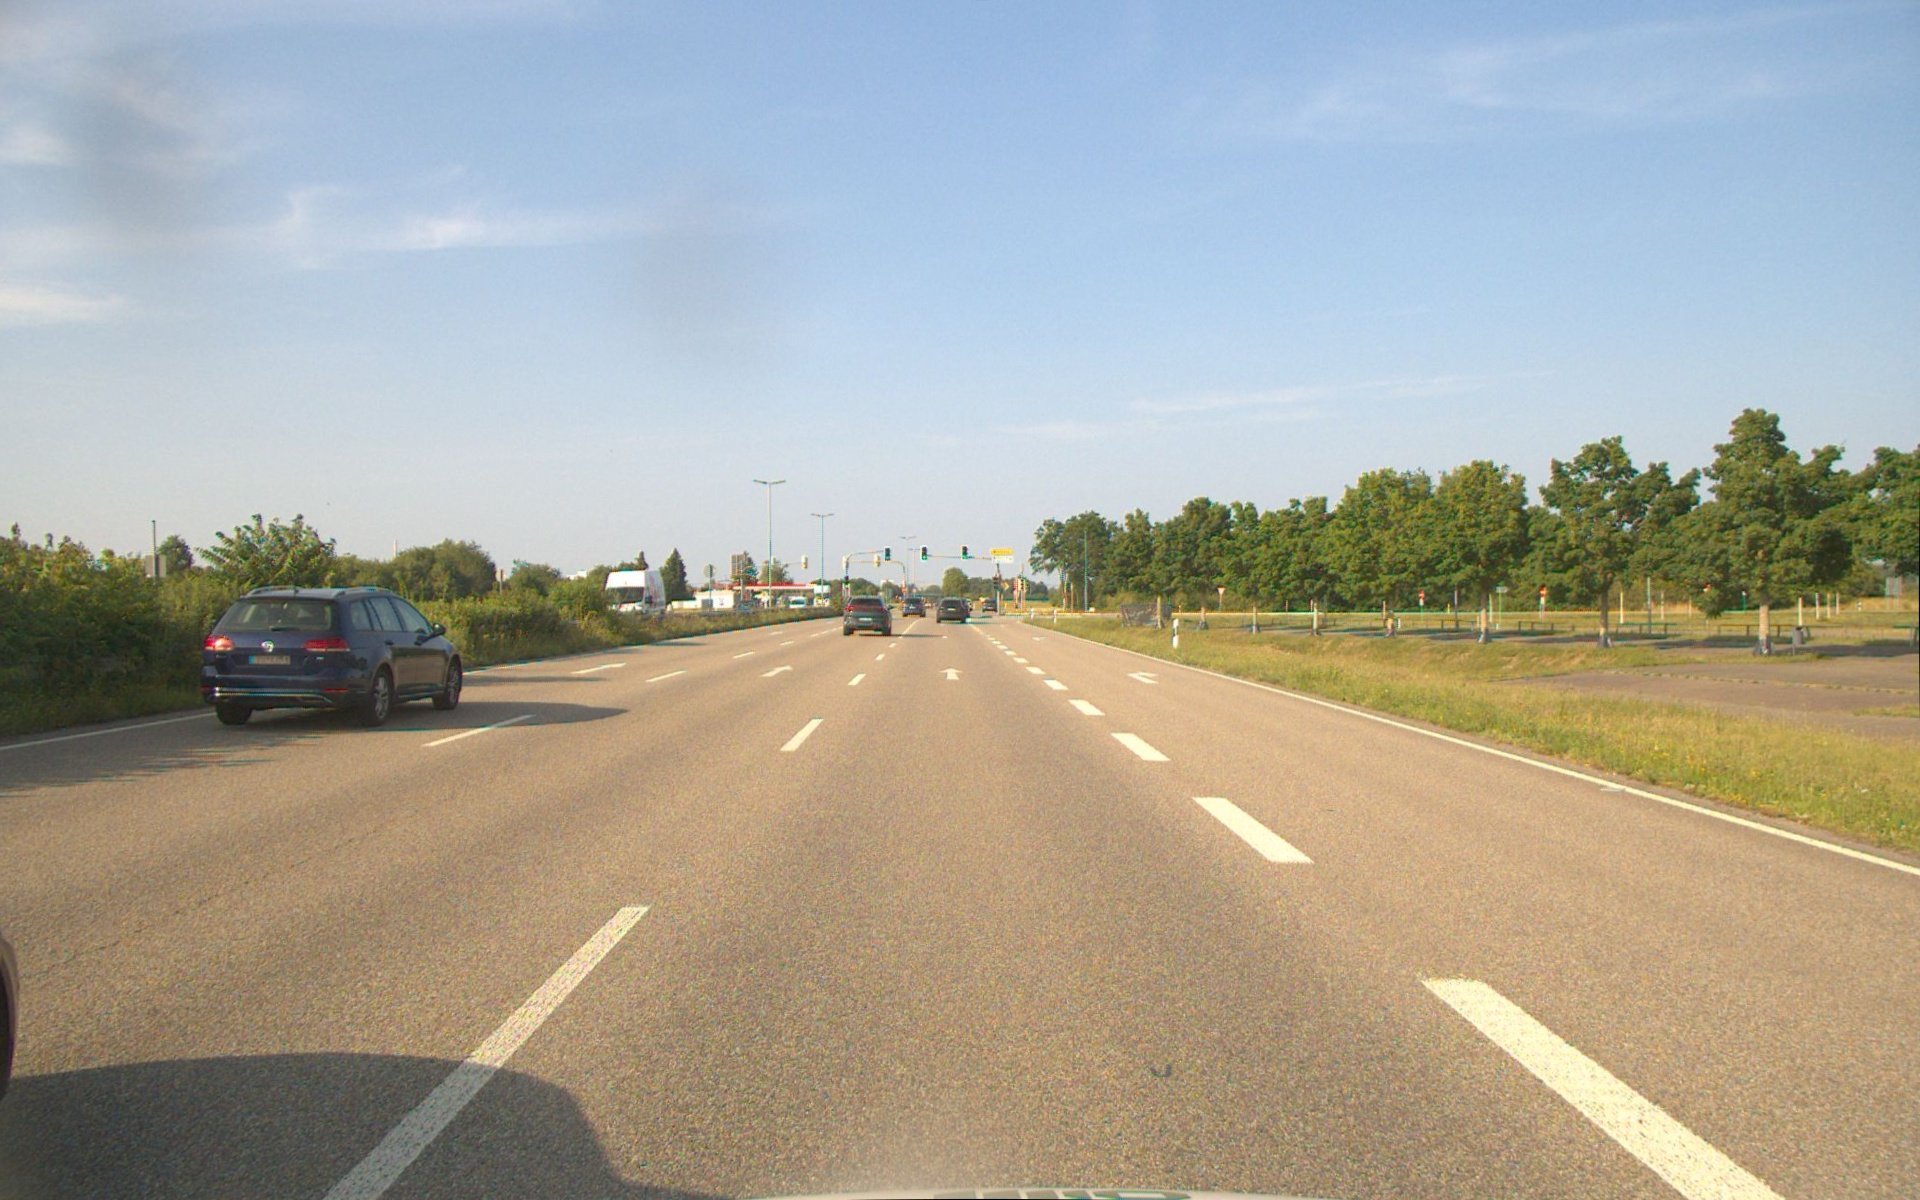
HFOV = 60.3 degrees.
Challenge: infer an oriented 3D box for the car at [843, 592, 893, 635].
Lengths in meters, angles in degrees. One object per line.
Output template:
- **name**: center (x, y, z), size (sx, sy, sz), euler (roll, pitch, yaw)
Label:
- **car**: center (-3.713, 0.519, 67.130), size (1.808, 1.640, 4.400), euler (2, 0, -1)

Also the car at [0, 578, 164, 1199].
- **car**: center (-3.011, 0.703, 2.183), size (1.540, 1.497, 5.021), euler (0, 0, -1)

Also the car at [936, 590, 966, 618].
- **car**: center (-0.597, 0.248, 110.011), size (1.893, 1.709, 4.400), euler (2, 0, -1)

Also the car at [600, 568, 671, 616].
- **car**: center (-14.825, -0.332, 75.968), size (2.118, 2.071, 6.321), euler (1, -1, -1)

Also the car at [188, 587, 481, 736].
- **car**: center (-6.998, 0.616, 19.058), size (1.613, 1.497, 4.775), euler (0, 0, -1)

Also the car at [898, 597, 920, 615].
- **car**: center (-4.320, 0.494, 141.394), size (1.776, 1.489, 4.400), euler (0, 0, -1)

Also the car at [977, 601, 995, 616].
- **car**: center (2.965, 0.956, 188.991), size (1.907, 1.665, 3.445), euler (1, -1, -2)

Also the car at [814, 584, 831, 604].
- **car**: center (-20.744, -0.892, 249.226), size (2.225, 2.902, 5.248), euler (0, 0, -1)

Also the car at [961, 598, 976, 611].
- **car**: center (1.041, 0.561, 206.685), size (1.683, 1.573, 3.328), euler (1, -1, -1)
